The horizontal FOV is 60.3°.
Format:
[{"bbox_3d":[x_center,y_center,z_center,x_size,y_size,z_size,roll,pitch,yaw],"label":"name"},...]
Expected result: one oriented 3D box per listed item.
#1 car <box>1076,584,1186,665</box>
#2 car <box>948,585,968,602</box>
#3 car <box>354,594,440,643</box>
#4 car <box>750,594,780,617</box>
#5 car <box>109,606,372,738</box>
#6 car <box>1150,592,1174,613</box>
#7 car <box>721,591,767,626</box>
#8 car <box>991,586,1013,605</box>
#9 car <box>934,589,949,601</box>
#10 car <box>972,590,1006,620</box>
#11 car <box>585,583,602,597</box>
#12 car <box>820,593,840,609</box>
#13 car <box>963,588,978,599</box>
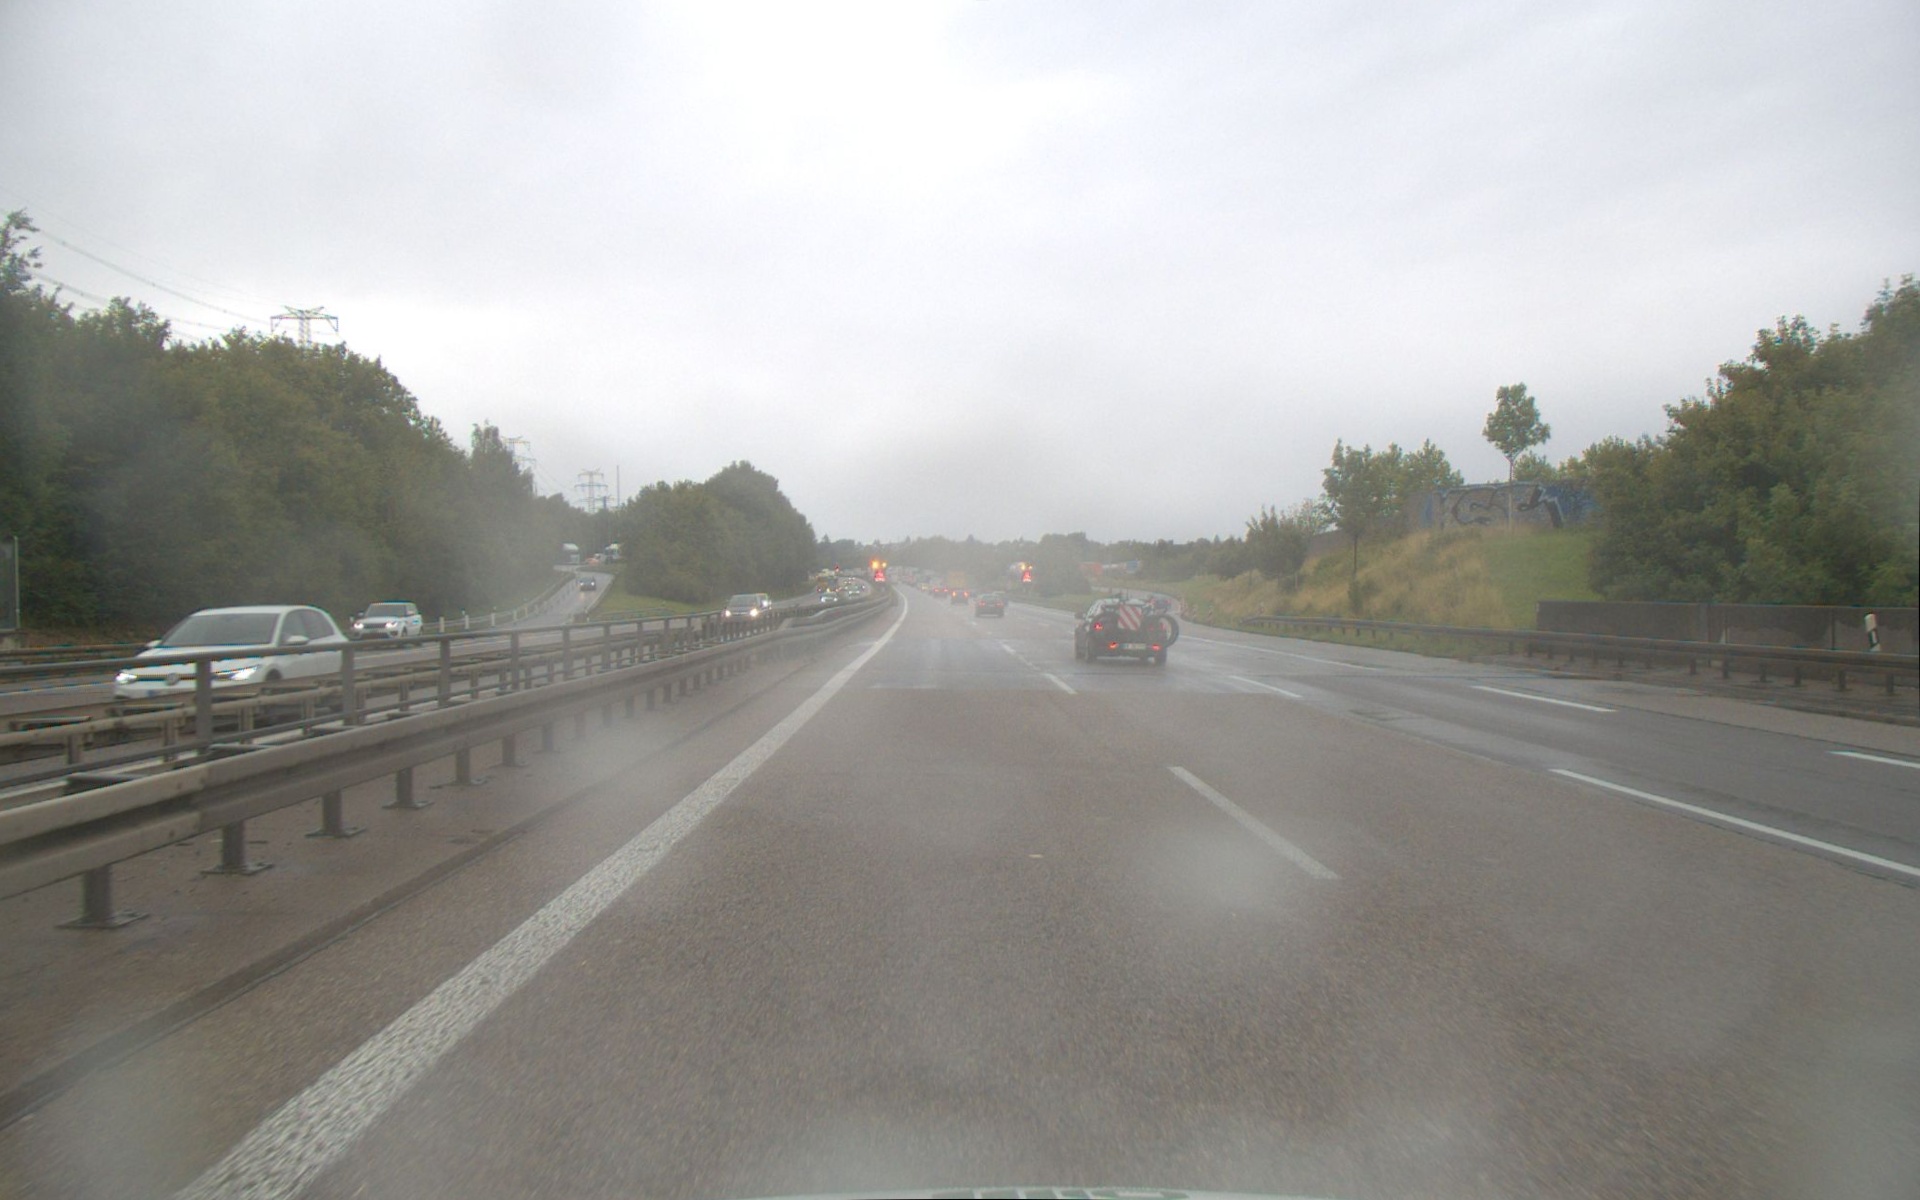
[{"bbox_3d":[3.820,0.536,37.869,2.015,1.700,5.522,1,0,1],"label":"car"},{"bbox_3d":[-0.216,-0.714,175.555,1.954,1.657,3.998,-1,1,-3],"label":"car"},{"bbox_3d":[-22.827,0.727,67.269,1.910,1.850,4.915,-1,0,-2],"label":"car"},{"bbox_3d":[-15.297,0.419,129.672,1.866,1.694,4.713,-1,0,-1],"label":"car"},{"bbox_3d":[-9.174,0.851,21.466,1.623,1.462,4.088,-2,0,-1],"label":"car"},{"bbox_3d":[18.135,0.208,148.430,1.882,1.739,4.002,-1,0,4],"label":"car"},{"bbox_3d":[-10.662,0.416,81.779,1.791,1.621,3.814,-1,0,-1],"label":"car"},{"bbox_3d":[4.237,-0.468,166.687,1.954,1.791,3.998,2,1,-3],"label":"car"},{"bbox_3d":[-2.615,-0.707,235.827,1.954,1.657,3.998,-1,1,-3],"label":"car"},{"bbox_3d":[1.842,0.301,106.837,1.954,1.791,3.998,-1,1,-3],"label":"car"},{"bbox_3d":[-43.235,-1.204,195.117,1.934,1.570,3.986,-1,1,-13],"label":"car"},{"bbox_3d":[-13.671,0.088,173.938,1.722,1.487,4.761,-2,0,-1],"label":"car"},{"bbox_3d":[1.538,-0.955,244.720,1.954,1.657,3.998,-1,1,-3],"label":"car"}]
